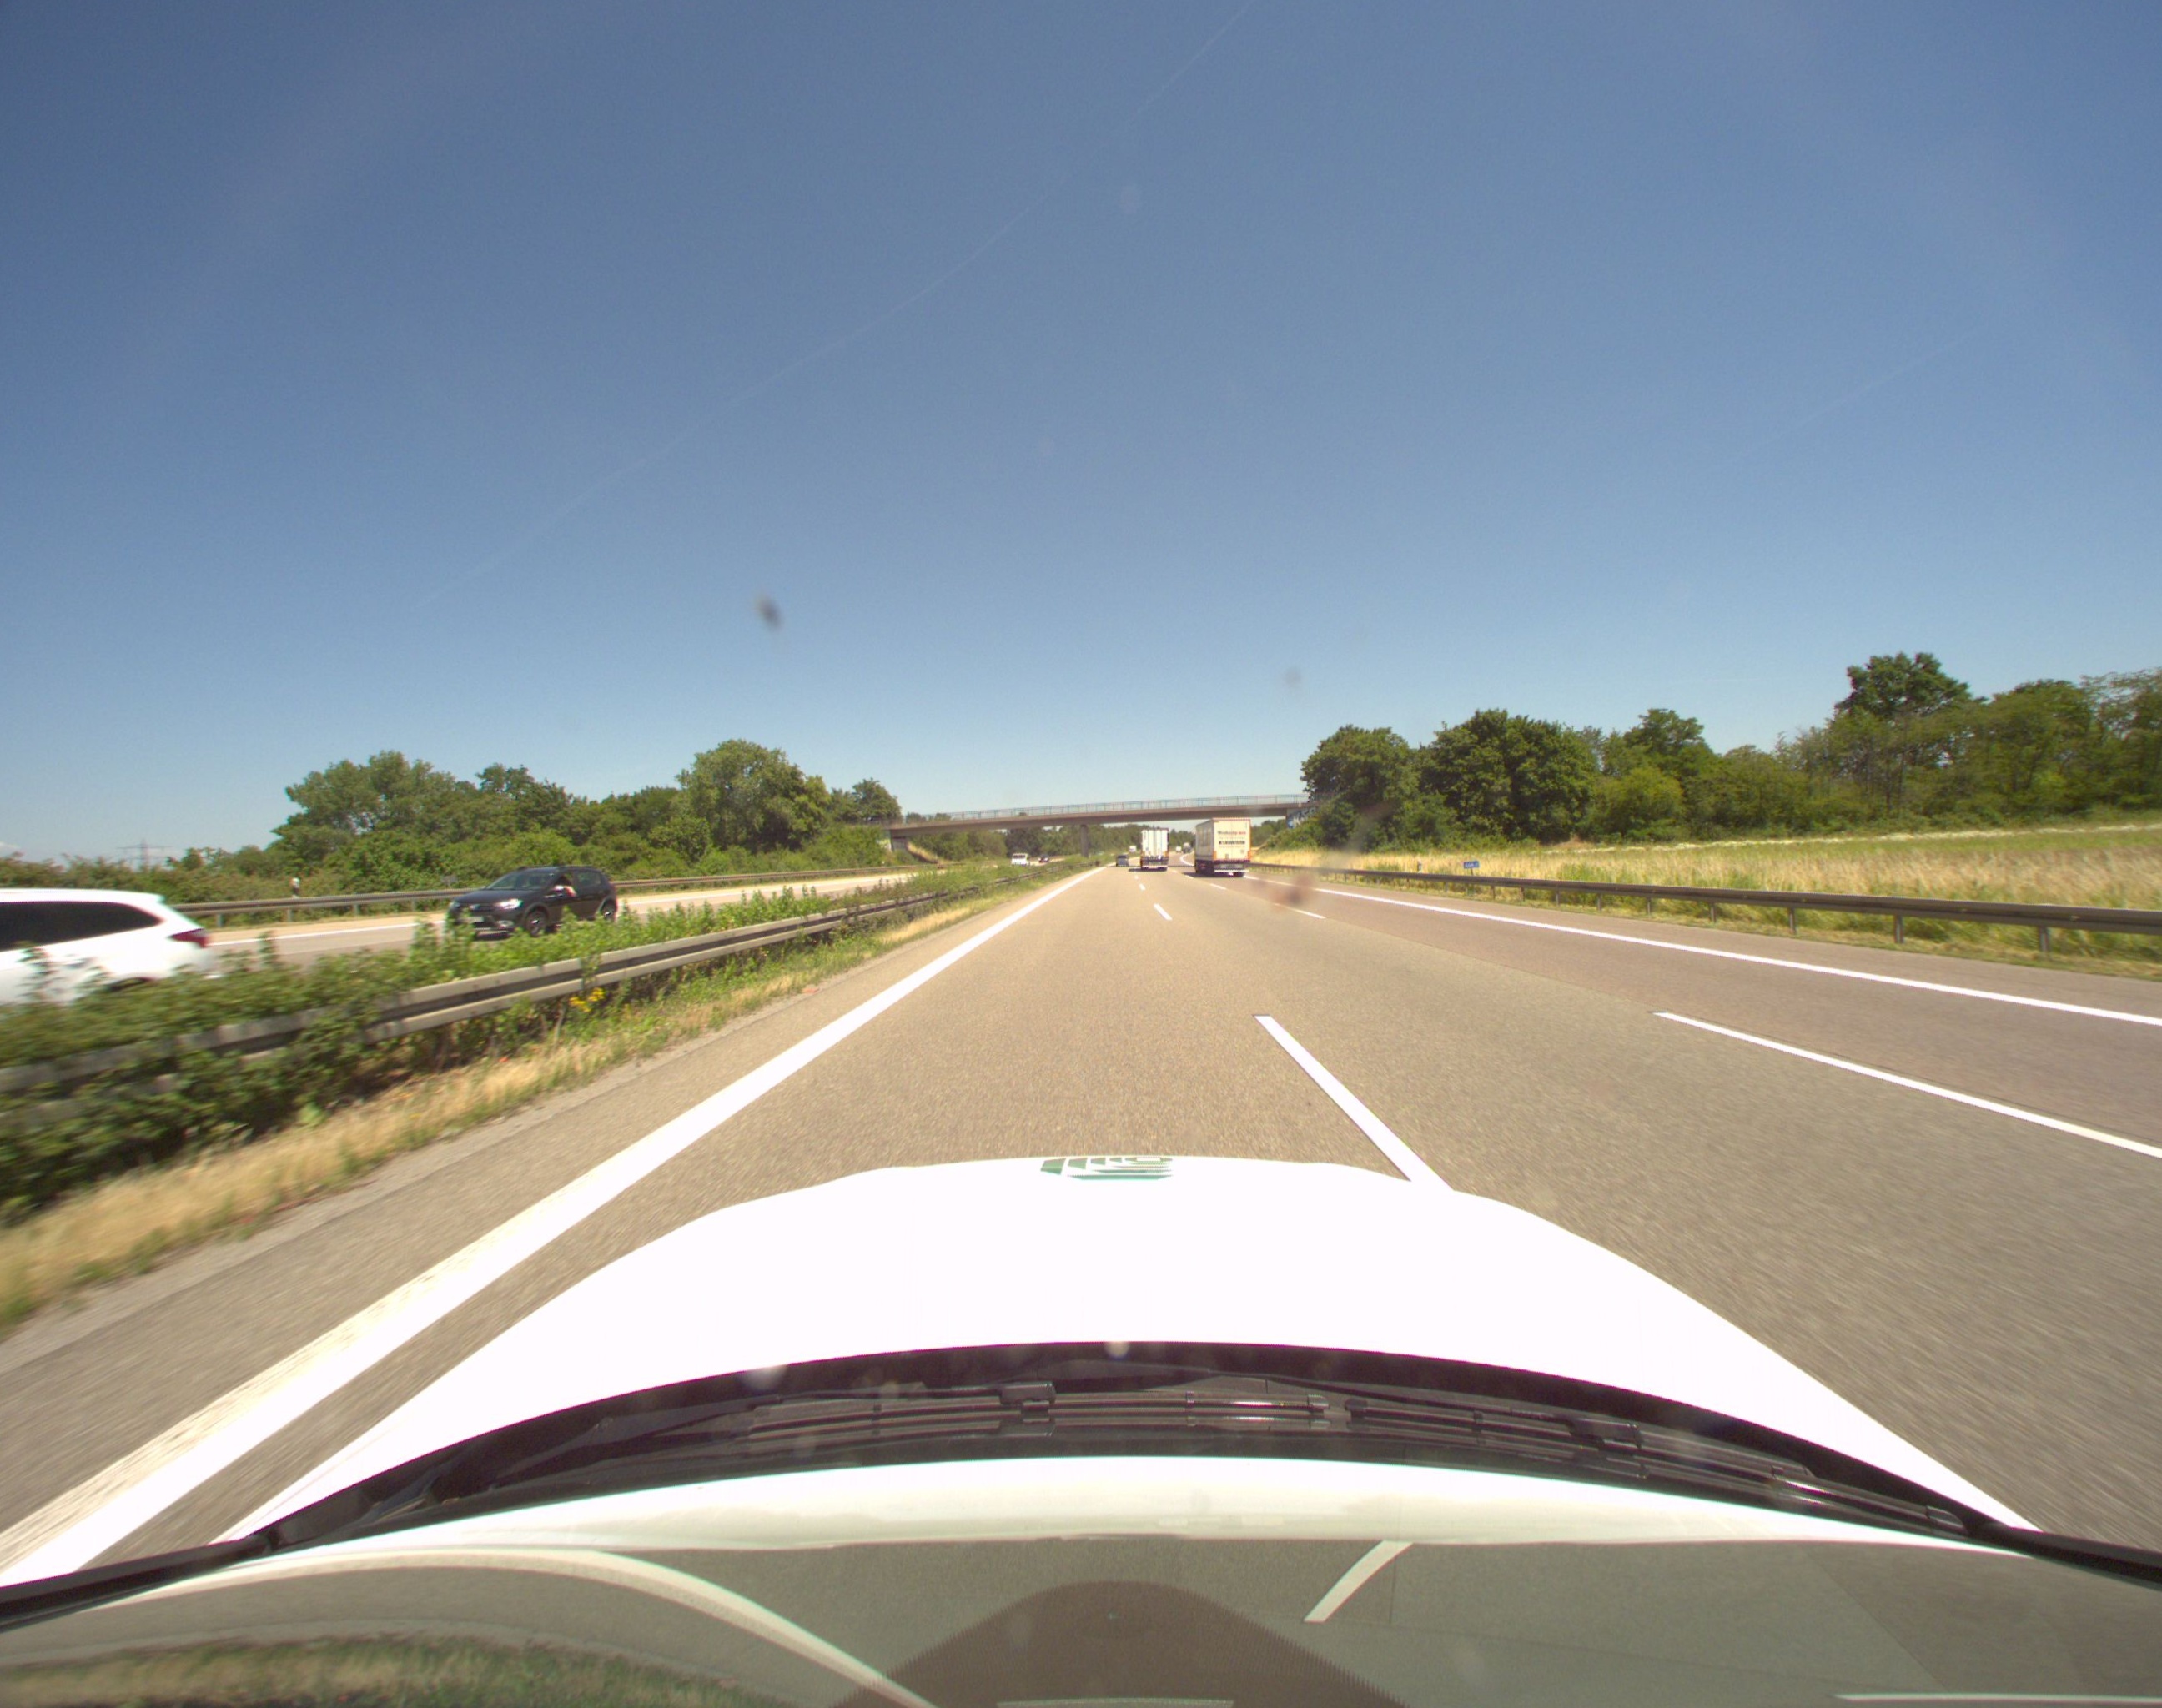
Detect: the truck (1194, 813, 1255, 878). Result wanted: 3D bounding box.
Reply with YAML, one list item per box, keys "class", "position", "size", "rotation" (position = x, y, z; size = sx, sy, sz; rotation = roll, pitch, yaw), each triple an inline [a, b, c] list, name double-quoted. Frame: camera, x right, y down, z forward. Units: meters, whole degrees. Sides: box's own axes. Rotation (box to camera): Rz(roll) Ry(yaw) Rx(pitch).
- class: "truck"
  position: [10.692, -0.652, 62.481]
  size: [3.166, 4.304, 16.039]
  rotation: [-1, 0, 5]

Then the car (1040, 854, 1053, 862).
- class: "car"
  position: [-6.673, 0.741, 156.143]
  size: [1.818, 1.461, 4.327]
  rotation: [0, 0, 7]

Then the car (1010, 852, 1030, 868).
- class: "car"
  position: [-7.902, 0.799, 106.085]
  size: [1.820, 2.013, 5.335]
  rotation: [0, 0, 3]

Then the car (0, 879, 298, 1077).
- class: "car"
  position: [-9.220, 0.994, 6.288]
  size: [1.678, 1.490, 4.730]
  rotation: [-1, -1, 2]

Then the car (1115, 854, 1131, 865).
- class: "car"
  position: [5.713, 0.732, 110.432]
  size: [1.819, 1.547, 4.326]
  rotation: [0, 0, 6]

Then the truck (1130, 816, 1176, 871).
- class: "truck"
  position: [7.129, -1.054, 83.419]
  size: [3.653, 5.018, 16.024]
  rotation: [-1, 0, 2]

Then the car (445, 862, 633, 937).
- class: "car"
  position: [-12.706, 1.001, 19.433]
  size: [1.638, 1.561, 4.068]
  rotation: [-1, -1, 2]
